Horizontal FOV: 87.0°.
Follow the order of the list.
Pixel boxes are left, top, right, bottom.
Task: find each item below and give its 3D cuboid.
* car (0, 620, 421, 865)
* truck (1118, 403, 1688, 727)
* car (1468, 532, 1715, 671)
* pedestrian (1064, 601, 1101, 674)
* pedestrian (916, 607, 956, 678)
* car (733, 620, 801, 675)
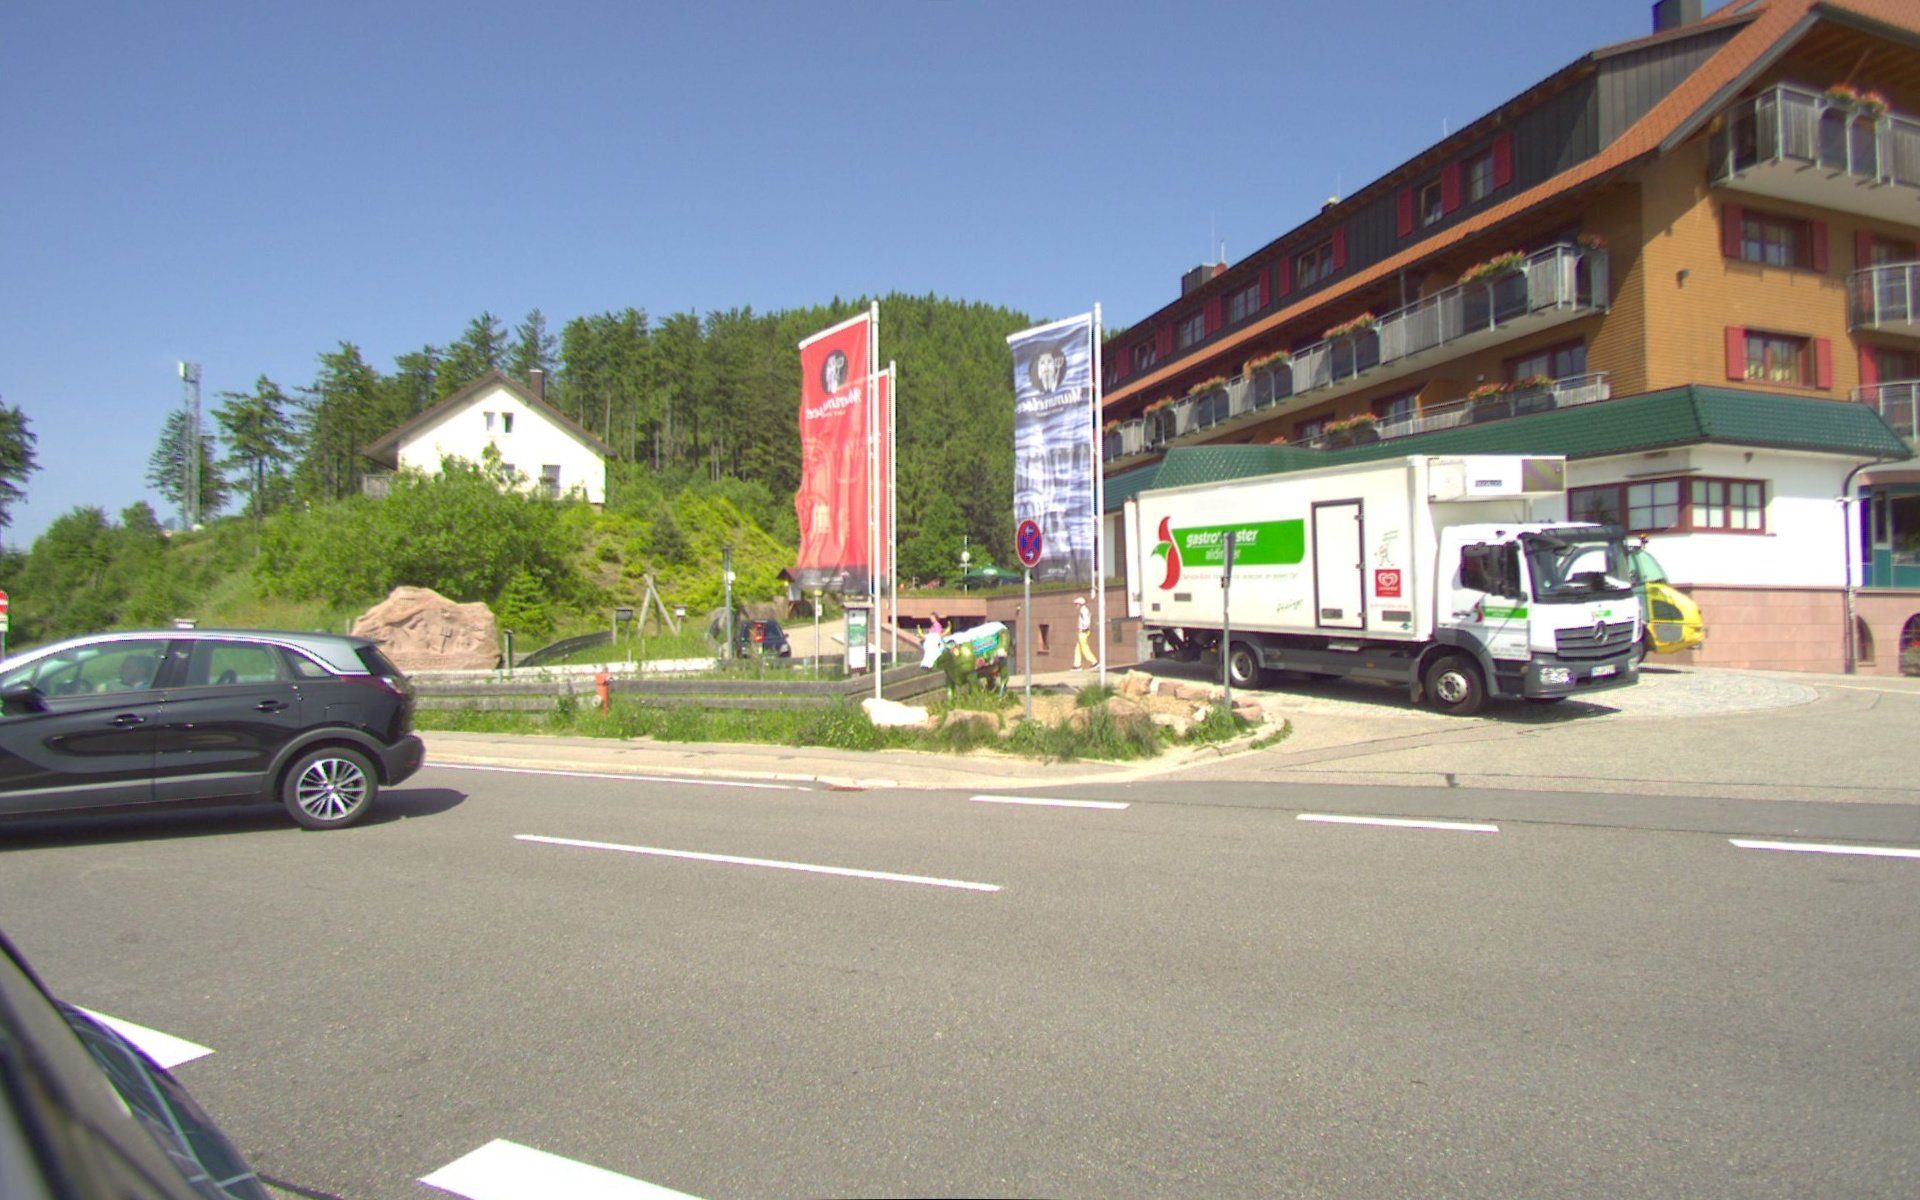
[{"bbox_3d":[-6.549,0.989,7.890,4.078,1.629,1.992,0,-2,-30],"label":"car"},{"bbox_3d":[6.591,-0.497,17.099,3.017,4.002,8.800,-2,1,-27],"label":"truck"},{"bbox_3d":[12.440,0.036,20.170,3.986,2.515,1.979,1,-1,32],"label":"car"},{"bbox_3d":[2.906,0.888,23.983,0.565,1.702,0.655,1,-3,-28],"label":"pedestrian"},{"bbox_3d":[-0.598,1.063,25.159,0.687,1.729,0.801,1,-3,-28],"label":"pedestrian"},{"bbox_3d":[-6.232,1.456,32.369,1.848,1.364,4.012,1,3,-15],"label":"car"}]
